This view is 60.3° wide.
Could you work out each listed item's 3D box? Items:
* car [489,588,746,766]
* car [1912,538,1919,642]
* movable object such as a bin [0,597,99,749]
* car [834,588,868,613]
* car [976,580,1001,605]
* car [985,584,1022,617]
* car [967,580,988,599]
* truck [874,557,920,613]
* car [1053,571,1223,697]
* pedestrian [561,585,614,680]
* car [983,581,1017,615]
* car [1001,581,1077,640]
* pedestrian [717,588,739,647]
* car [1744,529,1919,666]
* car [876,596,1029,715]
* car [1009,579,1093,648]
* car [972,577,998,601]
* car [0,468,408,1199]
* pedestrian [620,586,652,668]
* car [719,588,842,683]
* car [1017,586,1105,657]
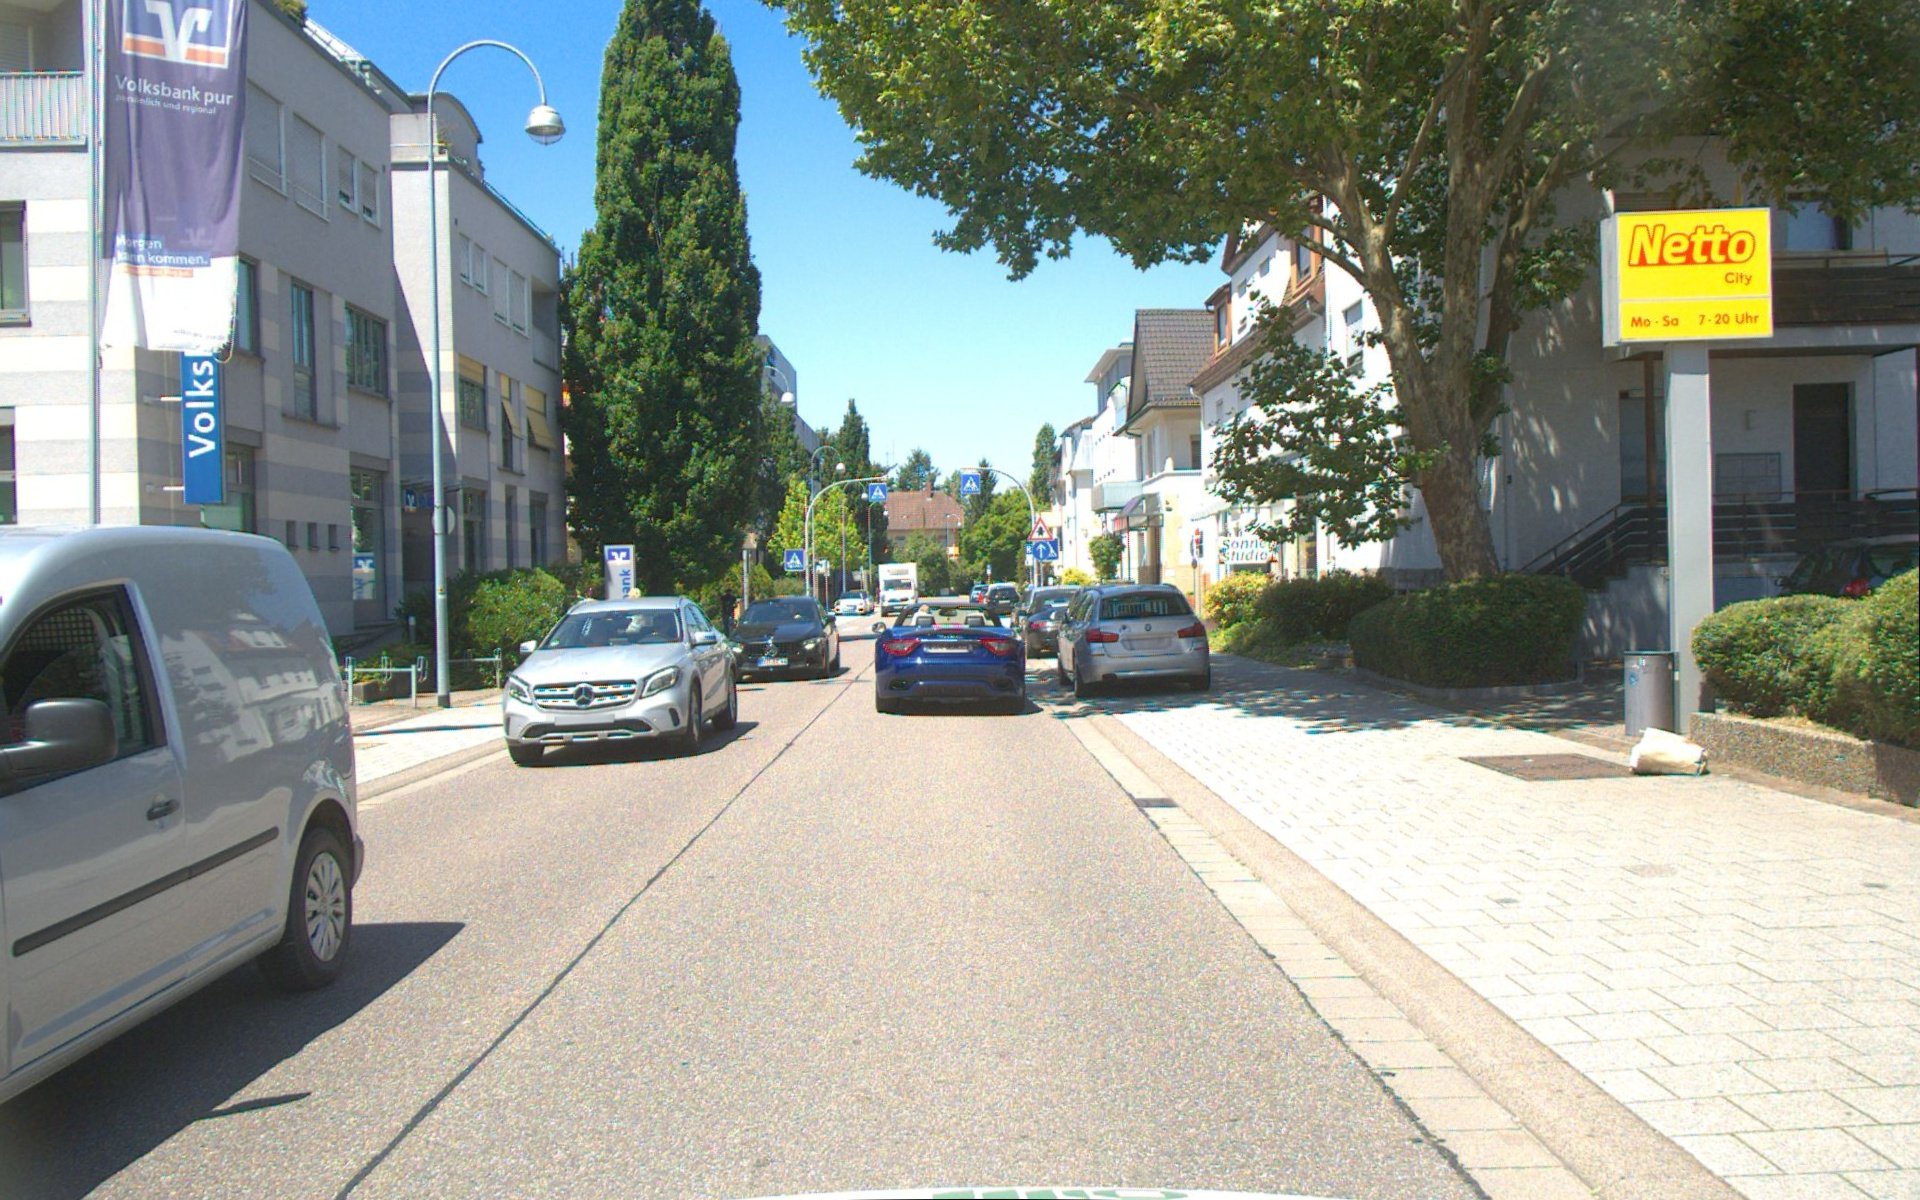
[{"bbox_3d":[-3.347,0.682,16.943,1.792,1.537,4.031,-2,0,-1],"label":"car"},{"bbox_3d":[14.923,-0.151,22.933,1.797,1.563,3.760,-2,0,10],"label":"car"},{"bbox_3d":[-10.068,0.734,17.364,1.358,1.514,1.294,1,0,-1],"label":"movable object such as a bin"},{"bbox_3d":[-6.629,0.025,101.106,1.785,1.436,4.577,-1,0,0],"label":"car"},{"bbox_3d":[1.864,-0.528,108.637,1.571,1.465,3.853,-4,1,1],"label":"car"},{"bbox_3d":[2.108,0.044,80.995,1.670,1.584,4.747,1,0,0],"label":"car"},{"bbox_3d":[1.452,-0.942,140.306,1.599,1.471,4.397,-4,1,0],"label":"car"},{"bbox_3d":[-3.624,-0.885,96.010,2.370,3.035,6.257,-2,0,0],"label":"truck"},{"bbox_3d":[2.442,0.429,23.829,1.792,1.537,4.759,-3,0,-1],"label":"car"},{"bbox_3d":[-6.823,0.584,30.308,0.733,1.673,0.848,-2,2,-2],"label":"pedestrian"},{"bbox_3d":[2.074,-0.126,86.965,1.670,1.695,4.580,0,1,0],"label":"car"},{"bbox_3d":[2.169,0.269,46.321,1.790,1.451,4.700,-4,0,0],"label":"car"},{"bbox_3d":[-6.896,0.511,49.276,0.525,1.714,0.708,-1,0,-1],"label":"pedestrian"},{"bbox_3d":[11.545,-0.061,21.238,1.649,1.570,4.102,-2,0,11],"label":"car"},{"bbox_3d":[-0.103,0.646,21.847,1.789,1.360,4.700,-1,0,0],"label":"car"},{"bbox_3d":[2.215,0.308,41.506,1.708,1.493,4.851,-4,0,0],"label":"car"},{"bbox_3d":[1.868,-0.832,125.713,1.806,1.647,4.427,-3,1,0],"label":"car"},{"bbox_3d":[-3.268,0.631,5.114,1.667,1.857,4.231,-3,0,-1],"label":"car"},{"bbox_3d":[-6.924,0.575,35.357,0.525,1.714,0.708,-1,0,-1],"label":"pedestrian"},{"bbox_3d":[-3.210,0.584,30.270,1.792,1.537,4.261,-2,0,-1],"label":"car"},{"bbox_3d":[2.132,0.431,35.884,1.526,1.364,4.173,-3,0,-1],"label":"car"}]
